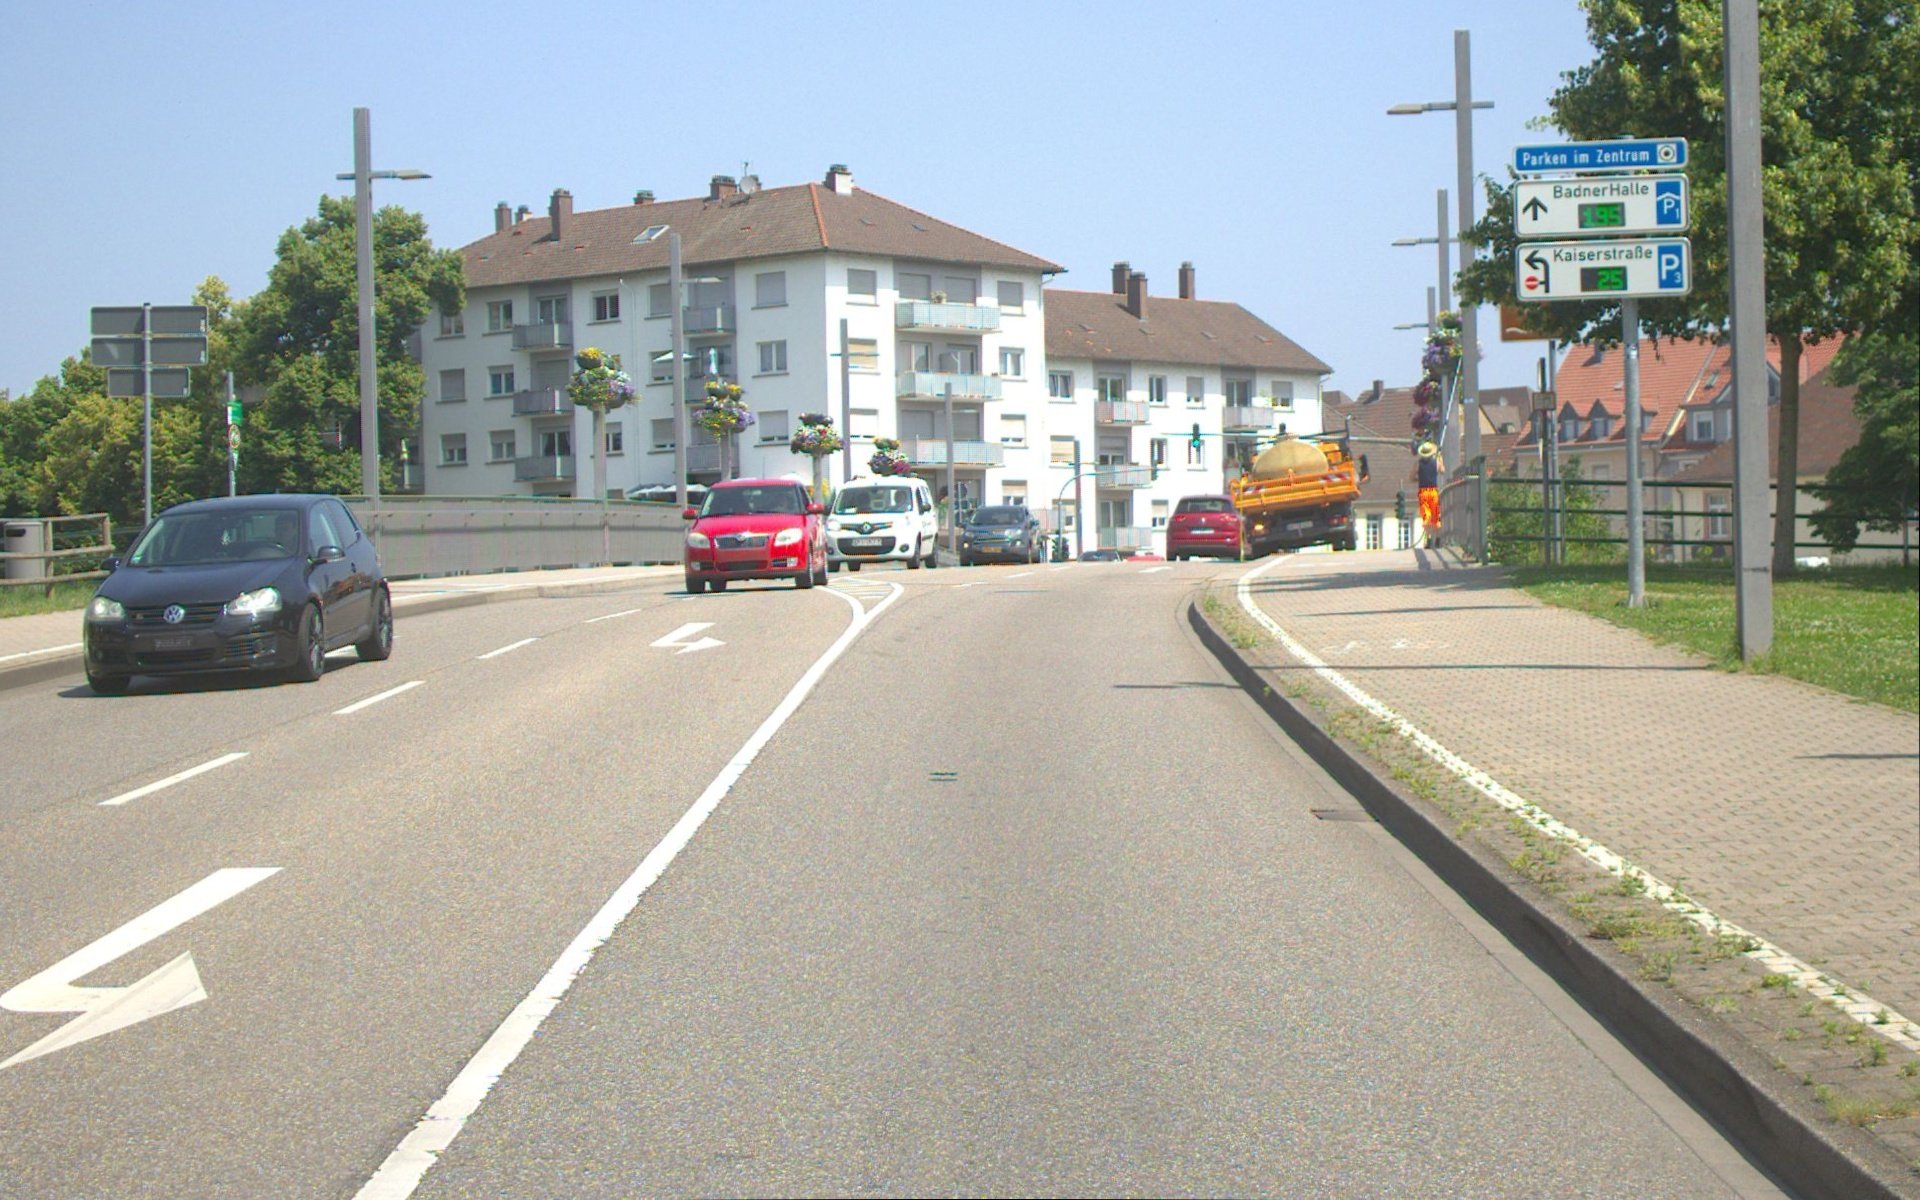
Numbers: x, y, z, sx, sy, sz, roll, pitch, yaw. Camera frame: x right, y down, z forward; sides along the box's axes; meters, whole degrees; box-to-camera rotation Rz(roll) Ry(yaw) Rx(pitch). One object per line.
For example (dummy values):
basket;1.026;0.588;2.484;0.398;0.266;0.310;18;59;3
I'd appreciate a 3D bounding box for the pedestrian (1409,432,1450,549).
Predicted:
pedestrian;7.987;-1.852;58.464;0.546;1.953;0.673;-1;0;-2

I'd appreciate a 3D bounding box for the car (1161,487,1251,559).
car;5.868;-1.797;81.589;1.990;1.607;4.341;-2;0;6

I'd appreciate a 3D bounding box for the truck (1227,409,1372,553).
truck;6.826;-2.315;68.597;2.606;2.682;5.821;-1;1;8

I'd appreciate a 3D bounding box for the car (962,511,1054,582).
car;1.220;-1.323;85.760;1.737;1.635;3.920;-3;0;8

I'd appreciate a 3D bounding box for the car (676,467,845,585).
car;-2.590;-0.980;45.493;1.647;1.459;3.860;-1;1;5

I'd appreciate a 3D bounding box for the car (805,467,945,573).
car;-1.583;-1.498;65.961;1.837;1.854;4.661;-3;0;8

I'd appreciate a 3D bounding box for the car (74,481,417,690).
car;-5.719;-0.177;28.003;1.714;1.480;4.031;-2;2;3

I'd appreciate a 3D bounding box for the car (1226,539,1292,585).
car;10.118;-1.281;116.135;2.038;1.498;4.416;0;0;7
